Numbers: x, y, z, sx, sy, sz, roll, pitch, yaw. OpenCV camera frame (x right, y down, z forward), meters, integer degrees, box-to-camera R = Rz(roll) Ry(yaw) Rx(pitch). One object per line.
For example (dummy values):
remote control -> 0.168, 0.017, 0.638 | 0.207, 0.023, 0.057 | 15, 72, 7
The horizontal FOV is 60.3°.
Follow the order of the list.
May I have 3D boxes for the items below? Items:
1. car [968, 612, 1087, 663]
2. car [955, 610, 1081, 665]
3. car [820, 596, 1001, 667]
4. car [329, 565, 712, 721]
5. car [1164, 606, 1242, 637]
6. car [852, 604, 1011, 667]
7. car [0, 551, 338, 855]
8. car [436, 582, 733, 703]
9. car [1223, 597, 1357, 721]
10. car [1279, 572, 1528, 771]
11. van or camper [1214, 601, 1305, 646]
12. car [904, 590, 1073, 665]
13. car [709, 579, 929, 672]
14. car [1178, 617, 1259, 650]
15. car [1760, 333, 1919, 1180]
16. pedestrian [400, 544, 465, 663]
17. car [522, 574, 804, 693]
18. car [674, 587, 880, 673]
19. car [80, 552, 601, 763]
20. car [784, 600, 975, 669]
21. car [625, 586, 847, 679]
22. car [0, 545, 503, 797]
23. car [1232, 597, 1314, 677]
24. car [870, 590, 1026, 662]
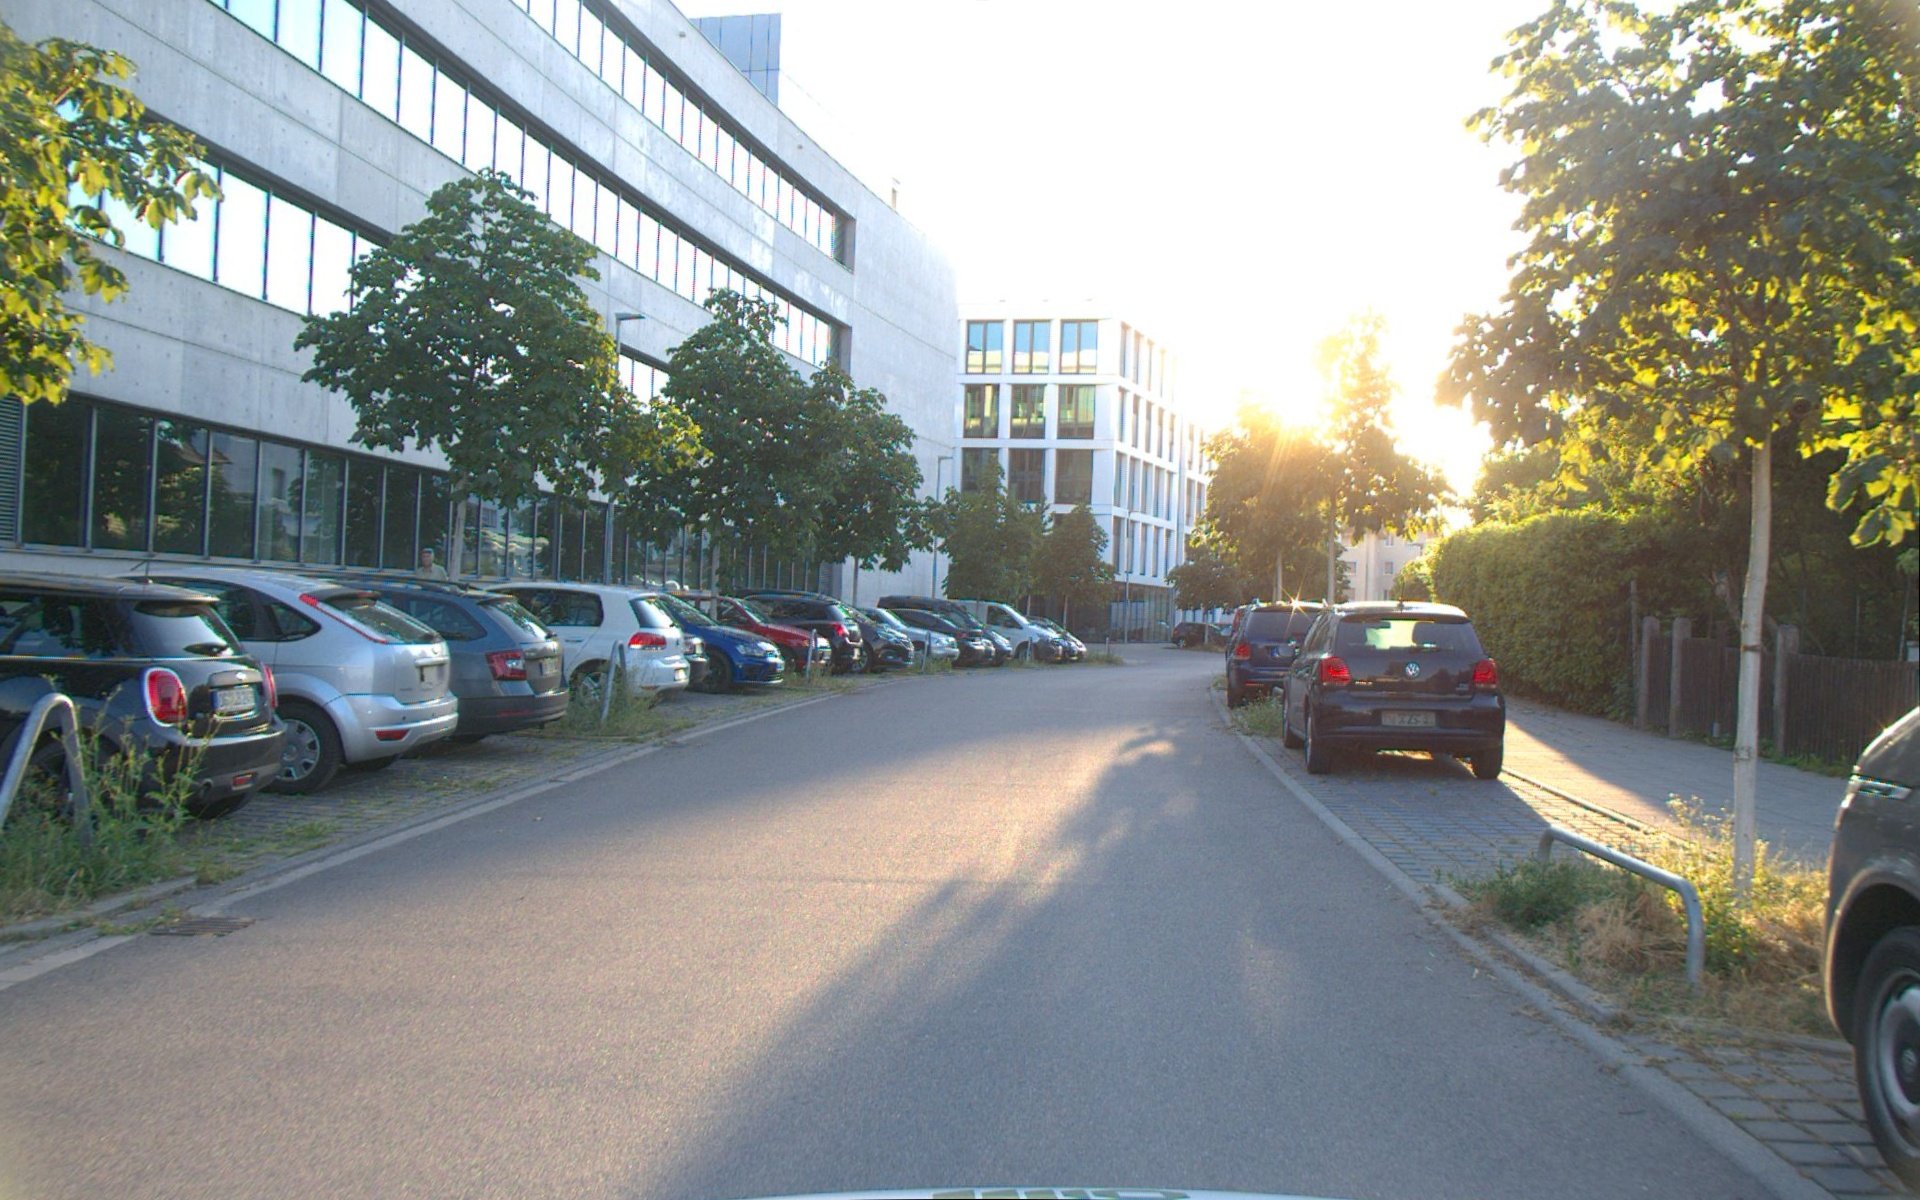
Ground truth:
car -> 2.375, 1.304, 57.844 | 3.804, 1.514, 1.652 | 4, 0, 15
car -> 1.961, 1.259, 55.292 | 3.903, 1.549, 1.607 | 4, -1, 13
car -> -1.274, 0.820, 43.016 | 4.305, 1.525, 1.764 | 4, -1, 17
car -> -5.081, 0.473, 19.426 | 3.903, 1.538, 1.761 | 3, 0, 5
car -> 13.656, 1.203, 93.017 | 3.968, 1.505, 1.767 | 3, 0, 22
car -> -0.779, 0.997, 46.280 | 4.056, 1.428, 1.726 | 4, -1, 13
car -> -5.788, 0.470, 9.522 | 3.658, 1.507, 1.770 | 3, 0, 1
car -> -5.037, 0.554, 22.488 | 3.558, 1.385, 1.686 | 3, 0, 2
car -> 4.674, 0.774, 23.901 | 1.674, 1.577, 4.552 | 1, 0, 9
car -> 3.958, 0.584, 15.299 | 1.703, 1.579, 3.642 | 1, 0, 7
van or camper -> 18.875, 1.485, 104.343 | 5.341, 2.527, 1.775 | 3, 0, 22
car -> 0.928, 0.869, 52.665 | 4.969, 1.980, 1.890 | 4, -1, 14
car -> -2.937, 0.529, 34.837 | 4.217, 1.726, 1.898 | 2, -1, 9
car -> 13.773, 1.770, 88.204 | 3.966, 1.504, 1.768 | 3, 1, 19
car -> 3.343, 0.403, 2.596 | 2.022, 2.131, 4.874 | 1, 0, 3
pedestrian -> -8.283, 0.054, 25.990 | 0.632, 1.815, 0.725 | 3, -1, 7
car -> -4.448, 0.485, 25.074 | 3.788, 1.538, 1.761 | 3, 0, 7
car -> -3.530, 0.584, 32.251 | 3.623, 1.483, 1.680 | 2, -1, 9
car -> -5.335, 0.464, 14.562 | 3.916, 1.538, 1.585 | 3, 1, 0
car -> -1.948, 0.823, 40.691 | 4.339, 1.489, 1.764 | 2, 0, 13
car -> -4.039, 0.586, 30.137 | 3.623, 1.483, 1.712 | 2, -1, 8
car -> -5.686, 0.457, 12.227 | 4.002, 1.555, 1.846 | 3, 0, 0
car -> 6.467, 0.764, 34.004 | 1.543, 1.536, 3.499 | 1, -1, 12
car -> -0.329, 0.769, 48.234 | 4.157, 1.772, 1.726 | 4, -1, 13
